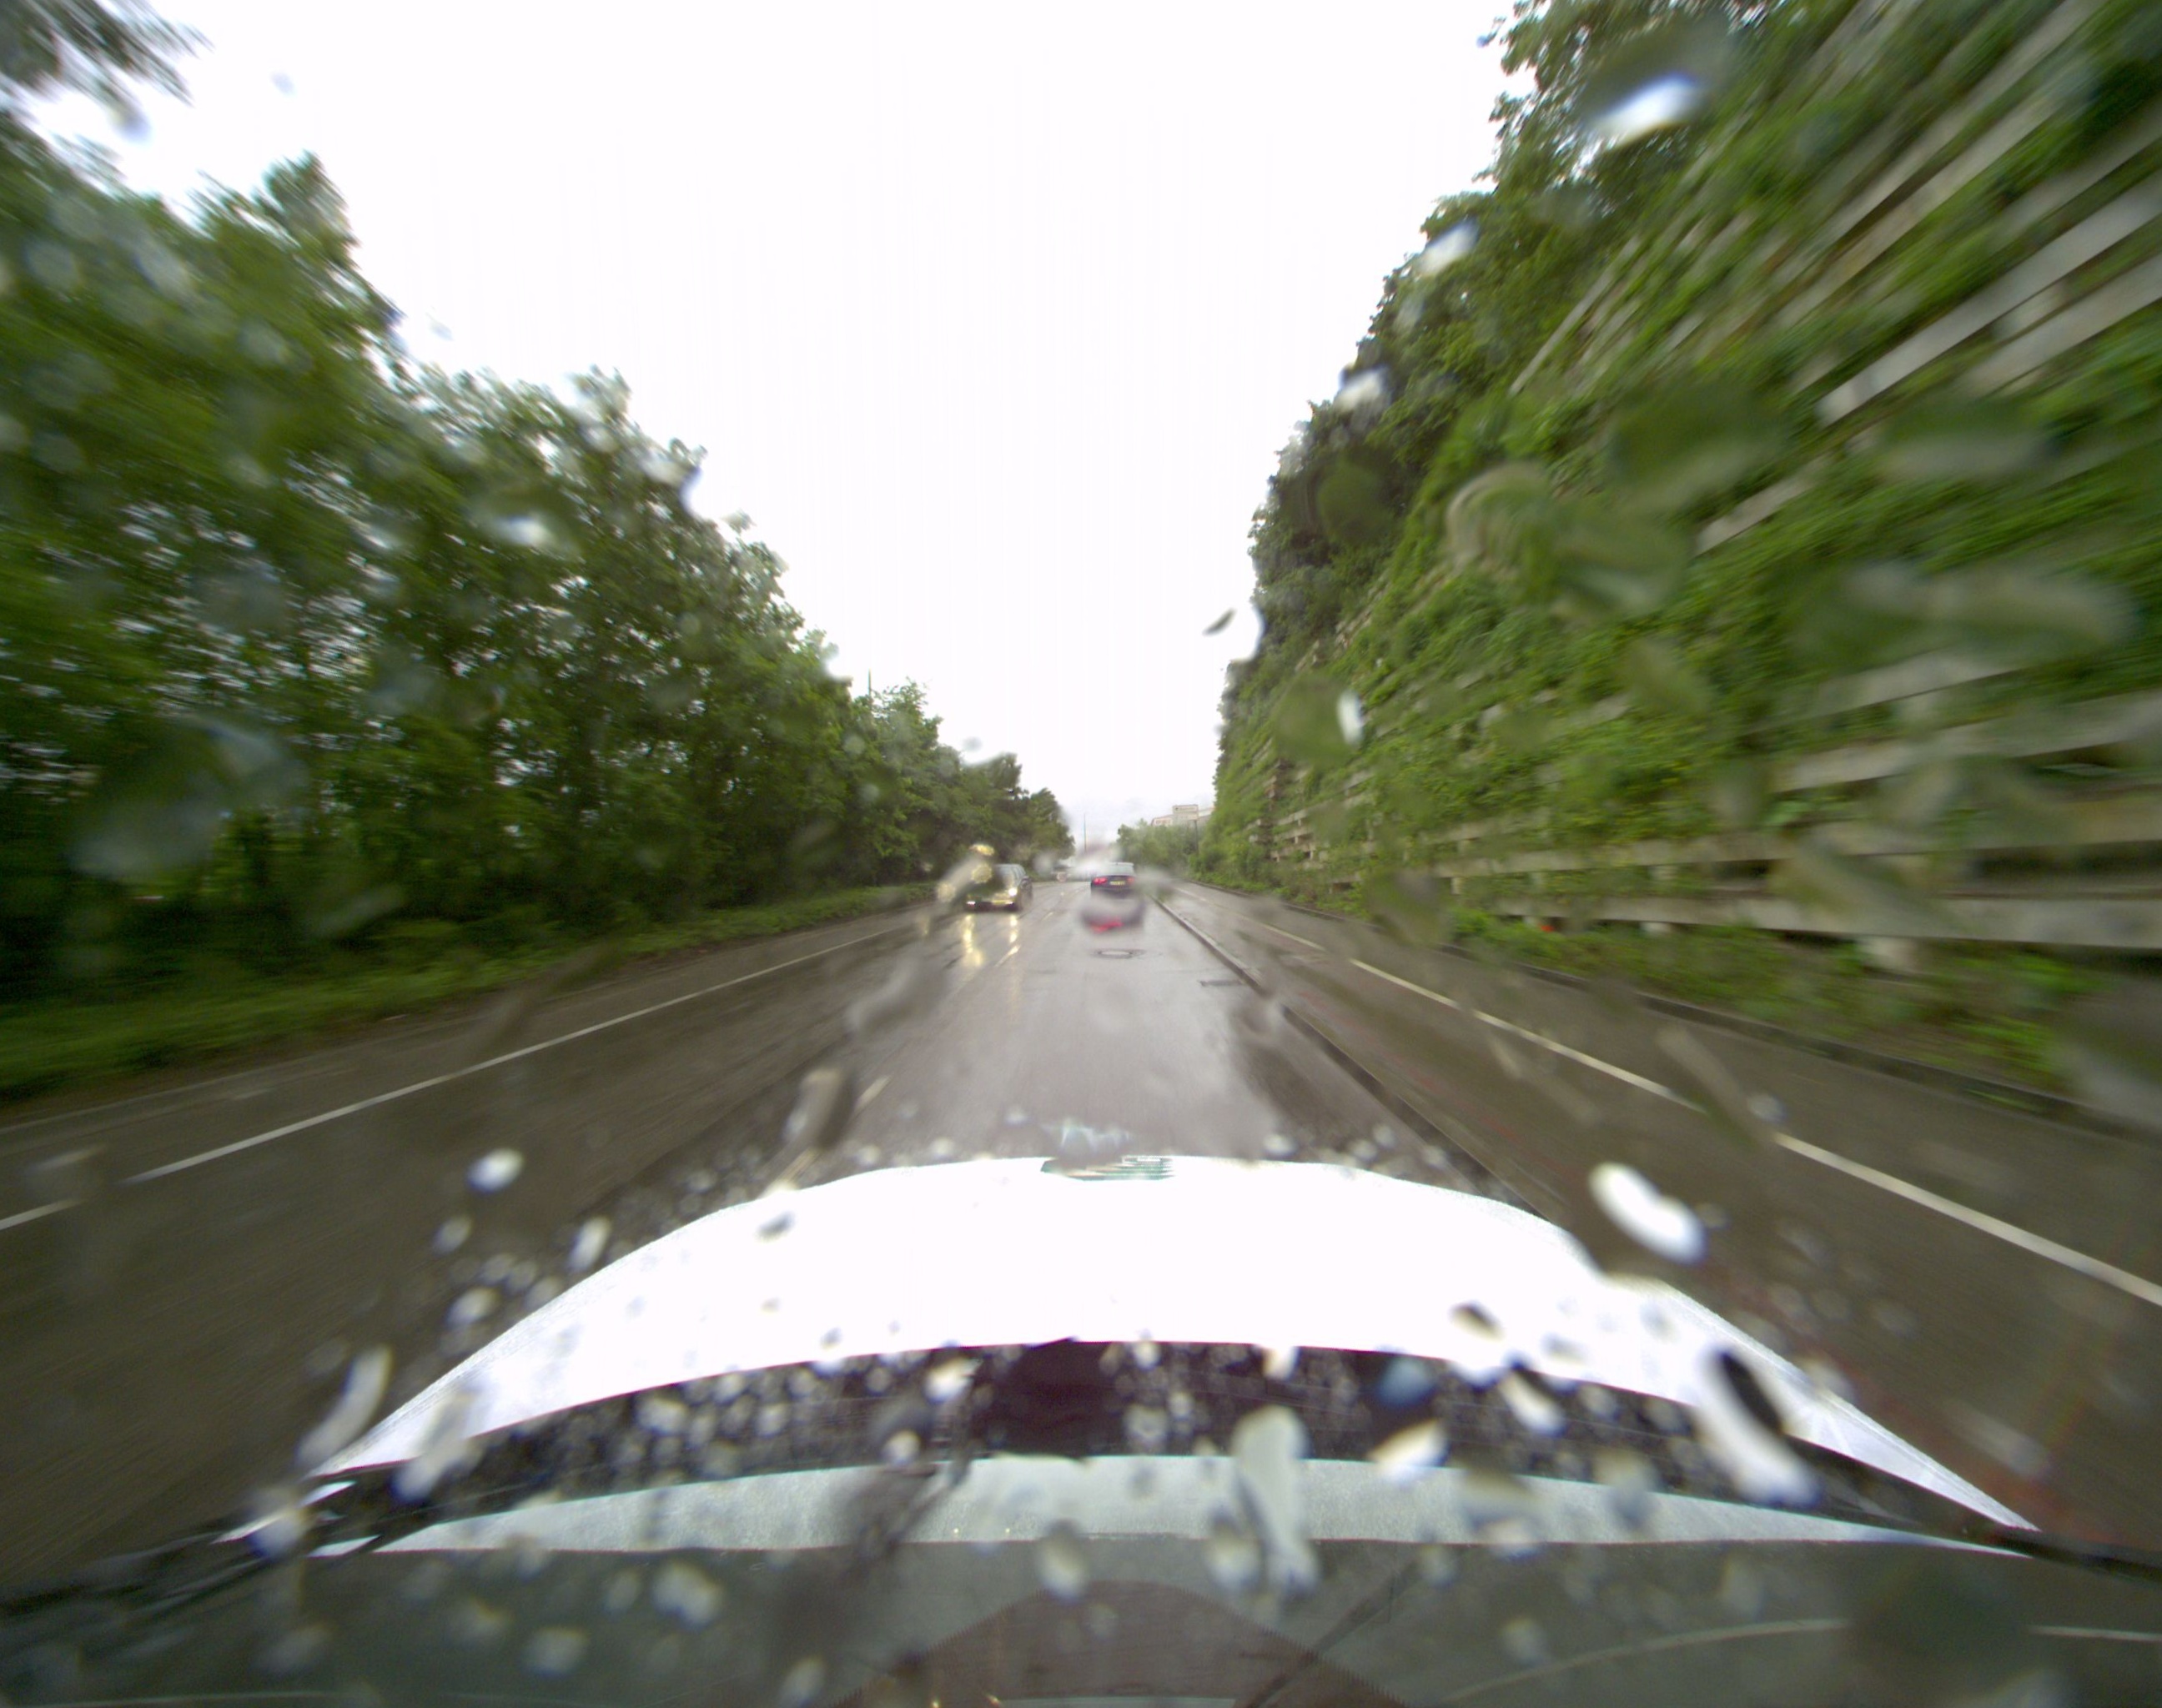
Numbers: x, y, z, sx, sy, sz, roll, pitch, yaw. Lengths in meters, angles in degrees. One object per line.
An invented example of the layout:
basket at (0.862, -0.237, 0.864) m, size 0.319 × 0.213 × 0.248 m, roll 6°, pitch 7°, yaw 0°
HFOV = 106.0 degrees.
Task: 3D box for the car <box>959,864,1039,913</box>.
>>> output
car at (-2.534, 1.034, 26.114) m, size 1.986 × 1.364 × 4.253 m, roll -1°, pitch 0°, yaw 2°

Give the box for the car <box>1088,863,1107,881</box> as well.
car at (1.705, 1.793, 82.961) m, size 1.822 × 1.706 × 4.337 m, roll -1°, pitch -1°, yaw 3°

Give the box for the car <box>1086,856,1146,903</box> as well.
car at (1.293, 0.849, 28.525) m, size 1.884 × 1.492 × 4.213 m, roll -1°, pitch 0°, yaw 5°
